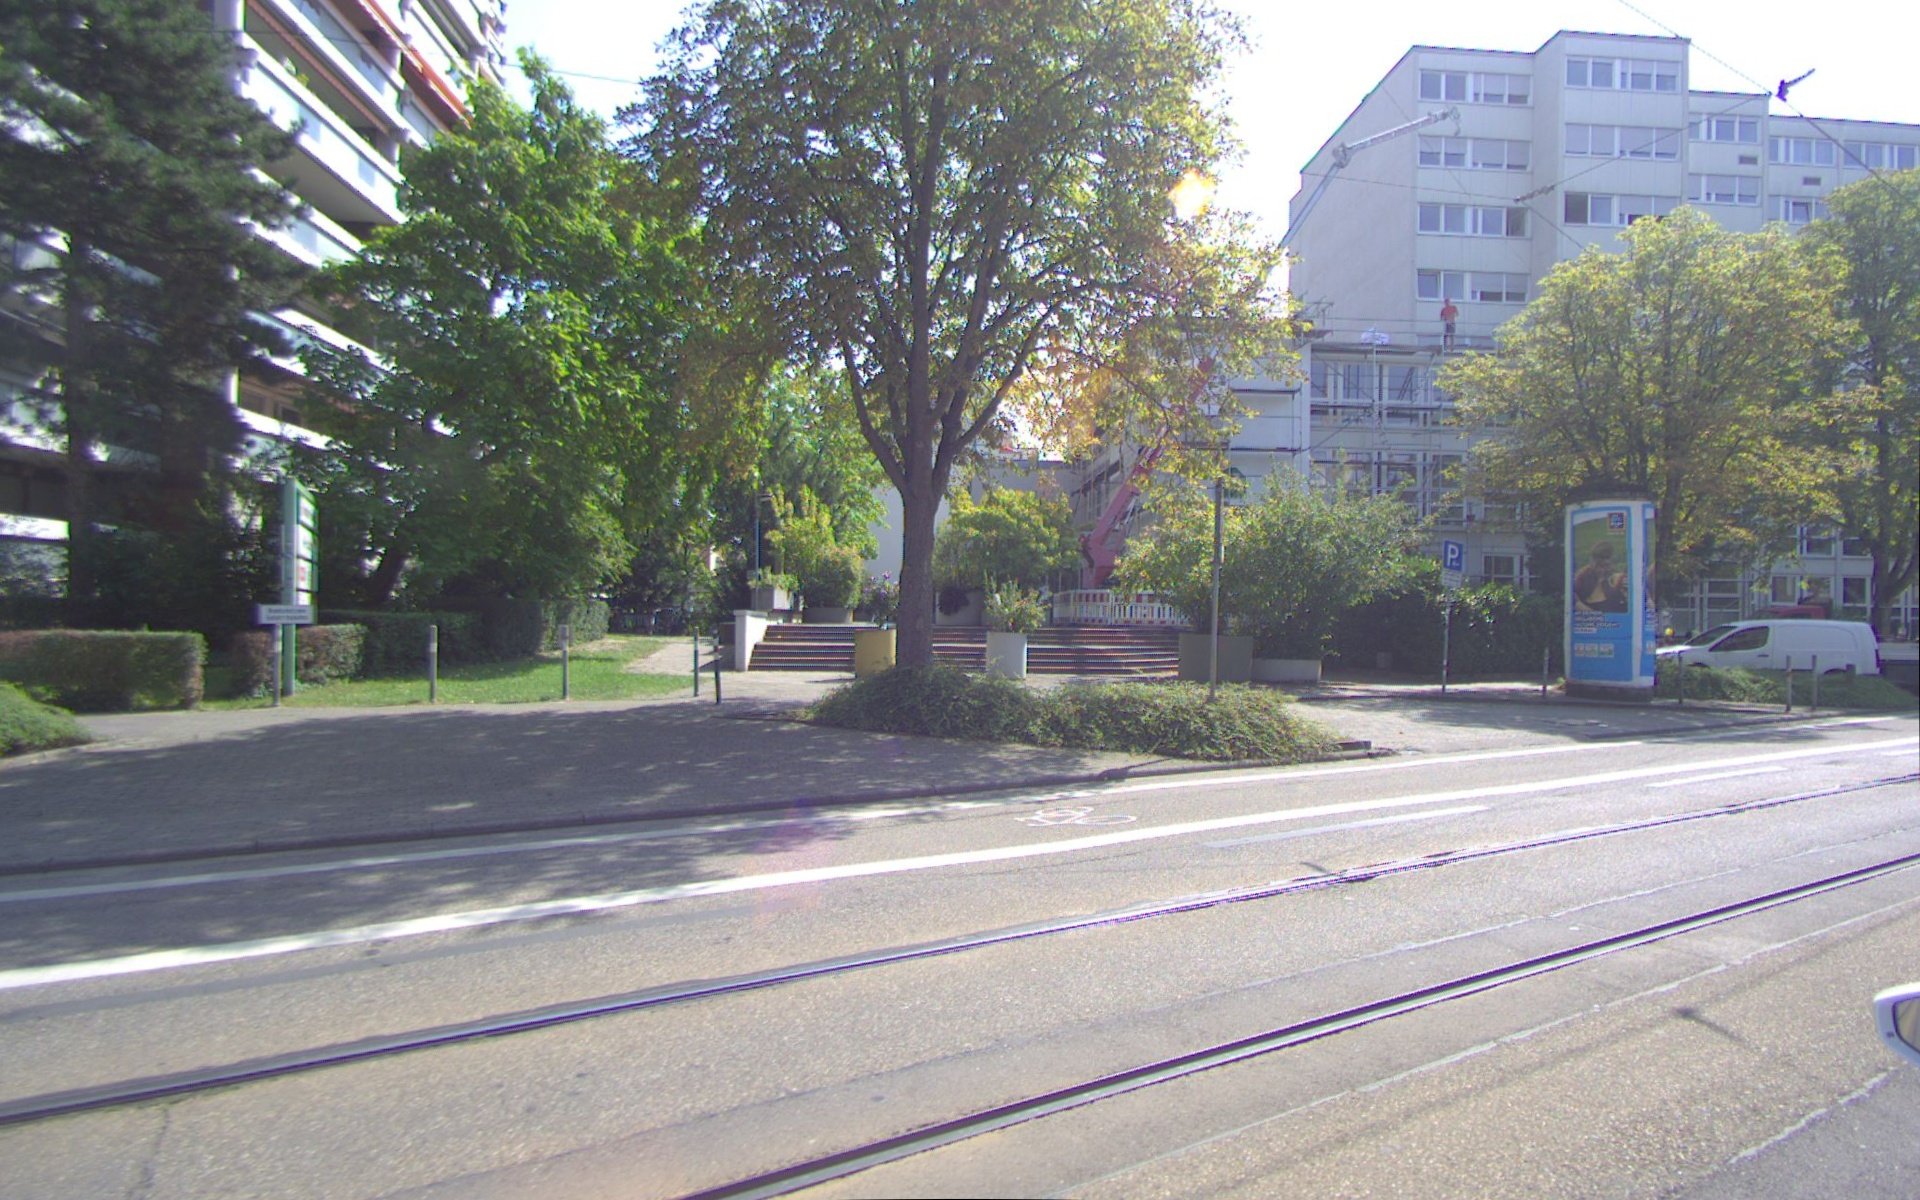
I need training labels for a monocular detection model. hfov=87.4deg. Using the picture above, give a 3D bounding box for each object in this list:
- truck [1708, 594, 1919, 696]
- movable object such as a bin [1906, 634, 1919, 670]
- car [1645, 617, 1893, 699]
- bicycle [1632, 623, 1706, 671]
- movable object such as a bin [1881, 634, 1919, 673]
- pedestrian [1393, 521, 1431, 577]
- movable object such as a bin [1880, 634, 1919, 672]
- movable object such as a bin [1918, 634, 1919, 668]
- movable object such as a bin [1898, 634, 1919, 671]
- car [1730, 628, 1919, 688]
[{"bbox_3d":[22.804,1.103,25.398,5.852,2.467,2.150,0,-1,21],"label":"truck"},{"bbox_3d":[43.305,2.302,44.553,1.339,1.580,1.674,1,-1,-31],"label":"movable object such as a bin"},{"bbox_3d":[19.014,1.312,23.841,4.200,1.795,1.826,0,-1,17],"label":"car"},{"bbox_3d":[24.800,1.619,35.188,0.591,1.546,2.341,1,1,-10],"label":"bicycle"},{"bbox_3d":[39.624,2.202,41.762,1.339,1.580,1.674,1,-1,-31],"label":"movable object such as a bin"},{"bbox_3d":[14.860,-1.669,33.044,0.837,1.749,0.749,1,0,-16],"label":"pedestrian"},{"bbox_3d":[40.616,2.242,42.885,1.339,1.580,1.674,1,-1,-31],"label":"movable object such as a bin"},{"bbox_3d":[44.507,2.314,45.259,1.339,1.580,1.674,1,-1,-31],"label":"movable object such as a bin"},{"bbox_3d":[42.018,2.266,43.576,1.339,1.580,1.674,1,-1,-31],"label":"movable object such as a bin"},{"bbox_3d":[23.890,1.564,27.761,3.783,1.528,1.722,0,-1,16],"label":"car"}]
